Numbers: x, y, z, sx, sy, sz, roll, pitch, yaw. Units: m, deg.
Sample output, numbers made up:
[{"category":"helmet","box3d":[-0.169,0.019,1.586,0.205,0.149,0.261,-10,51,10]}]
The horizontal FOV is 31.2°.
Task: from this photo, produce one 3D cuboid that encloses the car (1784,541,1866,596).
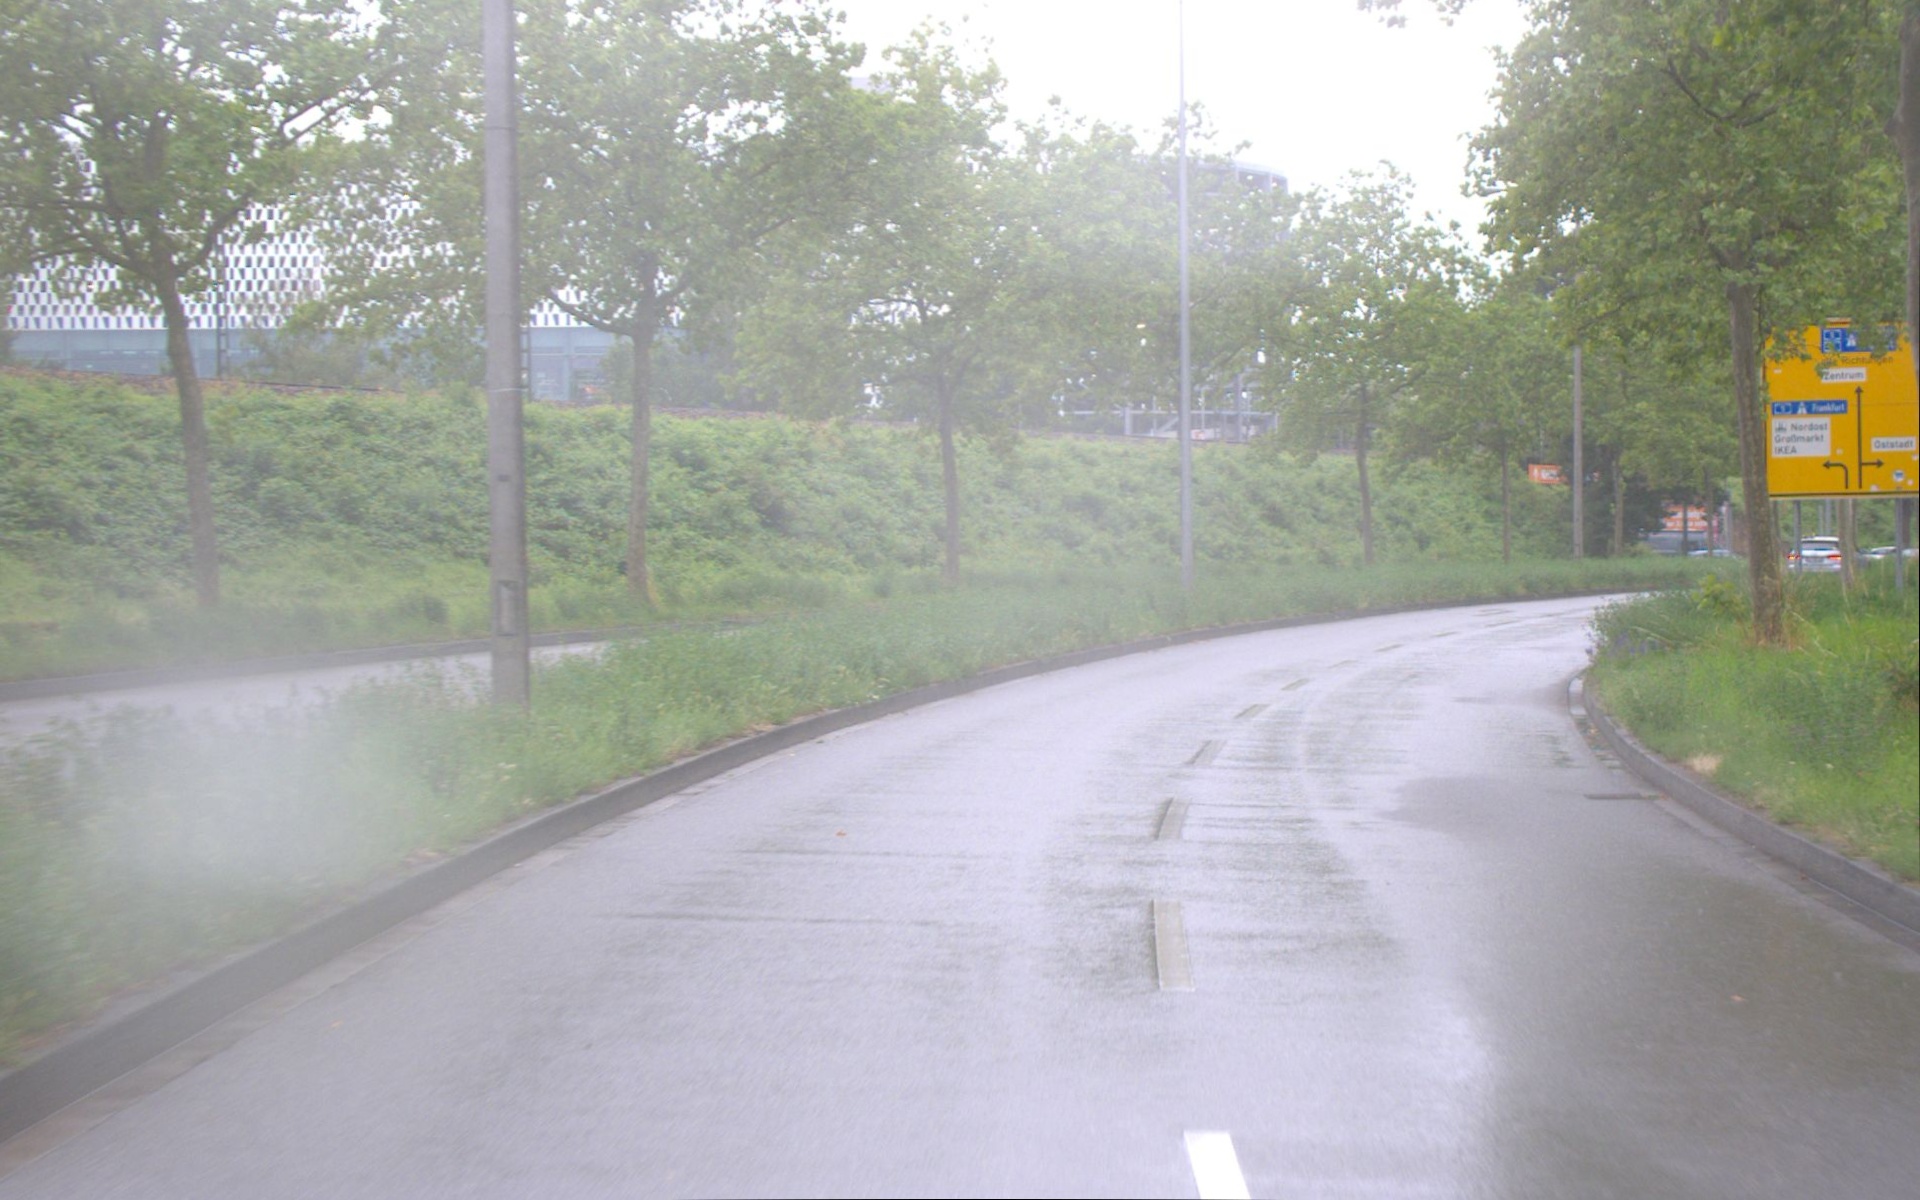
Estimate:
[{"category":"car","box3d":[25.554,-0.952,101.463,1.781,1.550,3.995,2,1,22]}]
